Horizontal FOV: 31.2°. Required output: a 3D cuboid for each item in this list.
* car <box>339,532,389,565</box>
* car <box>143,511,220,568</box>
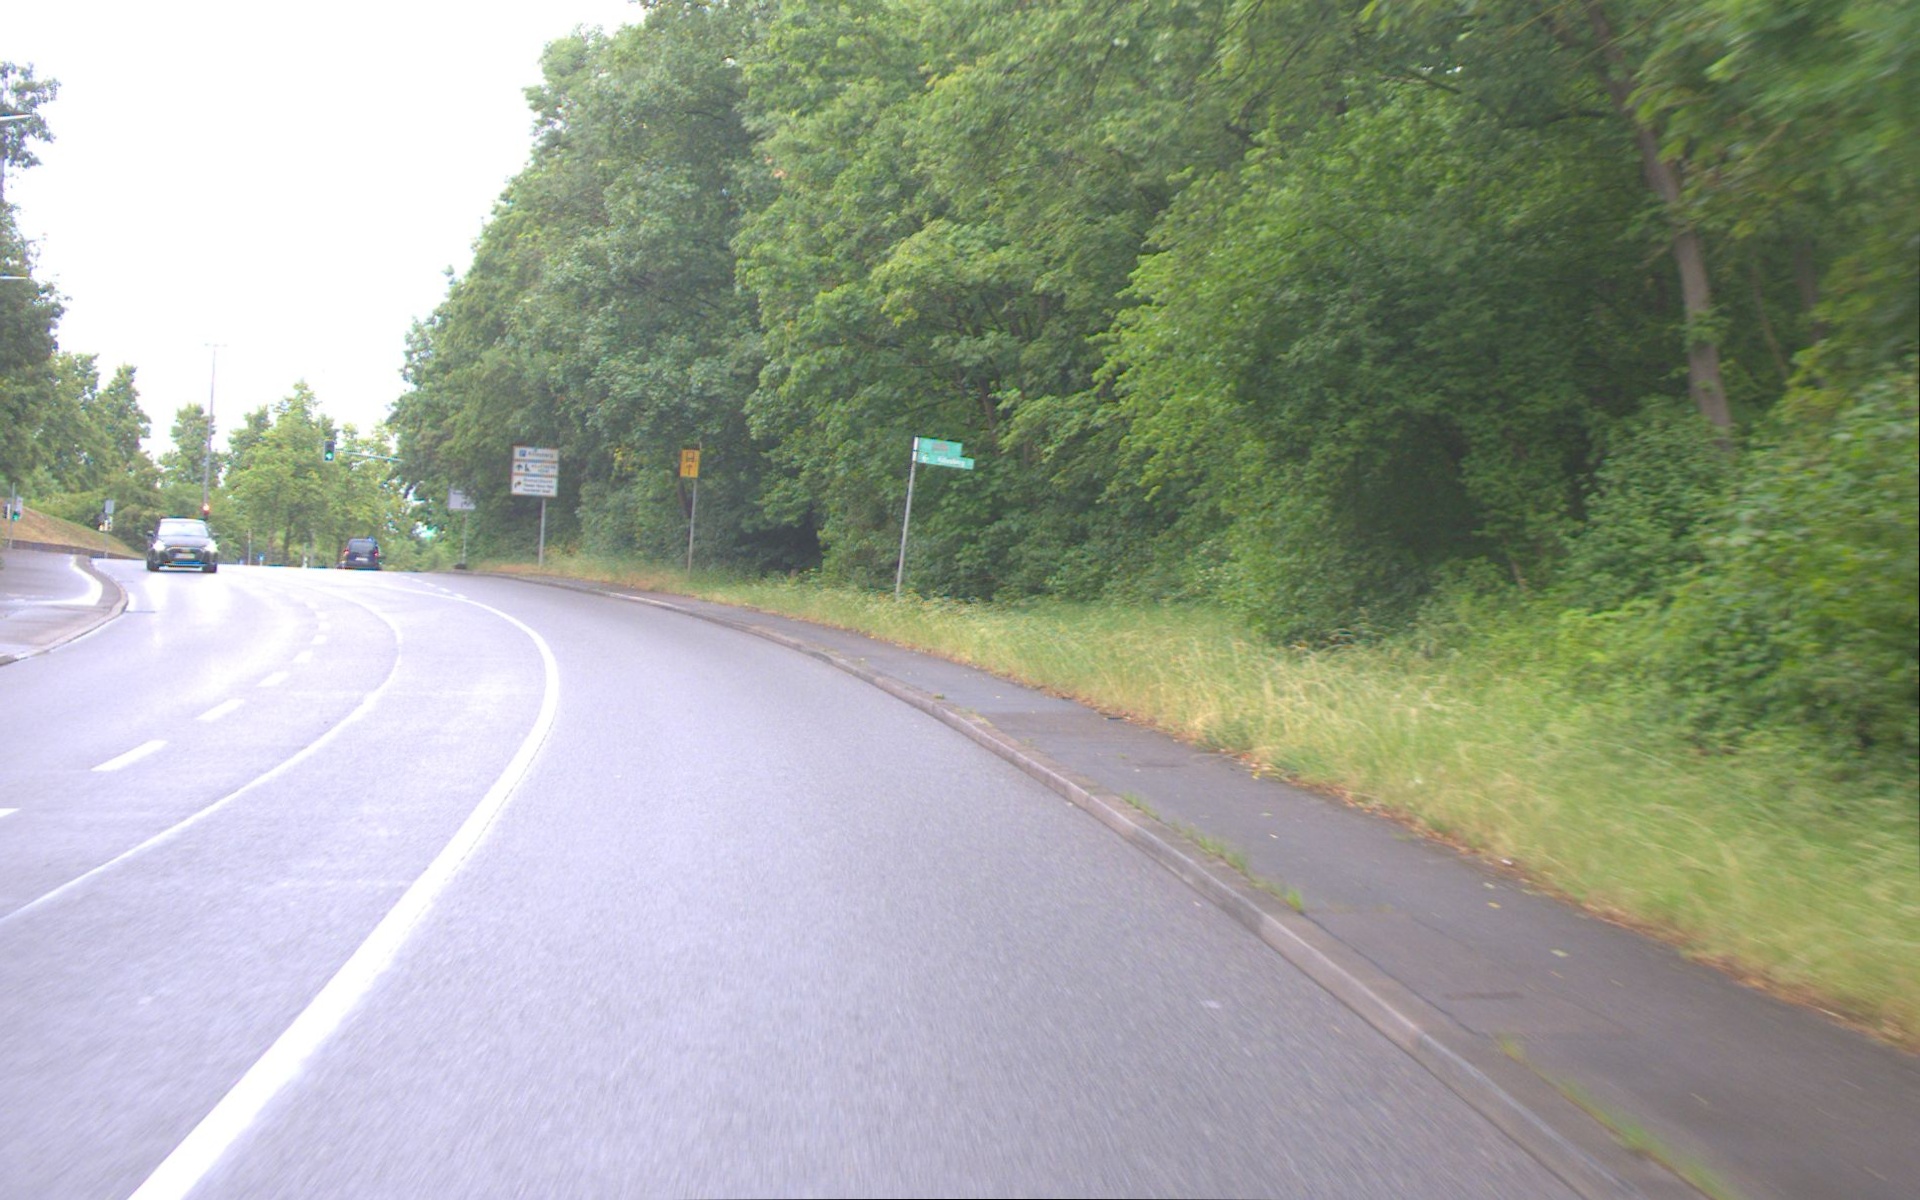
[{"bbox_3d":[-28.361,-2.454,163.645,1.935,1.493,4.319,2,1,-5],"label":"car"},{"bbox_3d":[-21.406,-1.675,94.647,1.934,1.493,4.319,1,1,-12],"label":"car"}]
